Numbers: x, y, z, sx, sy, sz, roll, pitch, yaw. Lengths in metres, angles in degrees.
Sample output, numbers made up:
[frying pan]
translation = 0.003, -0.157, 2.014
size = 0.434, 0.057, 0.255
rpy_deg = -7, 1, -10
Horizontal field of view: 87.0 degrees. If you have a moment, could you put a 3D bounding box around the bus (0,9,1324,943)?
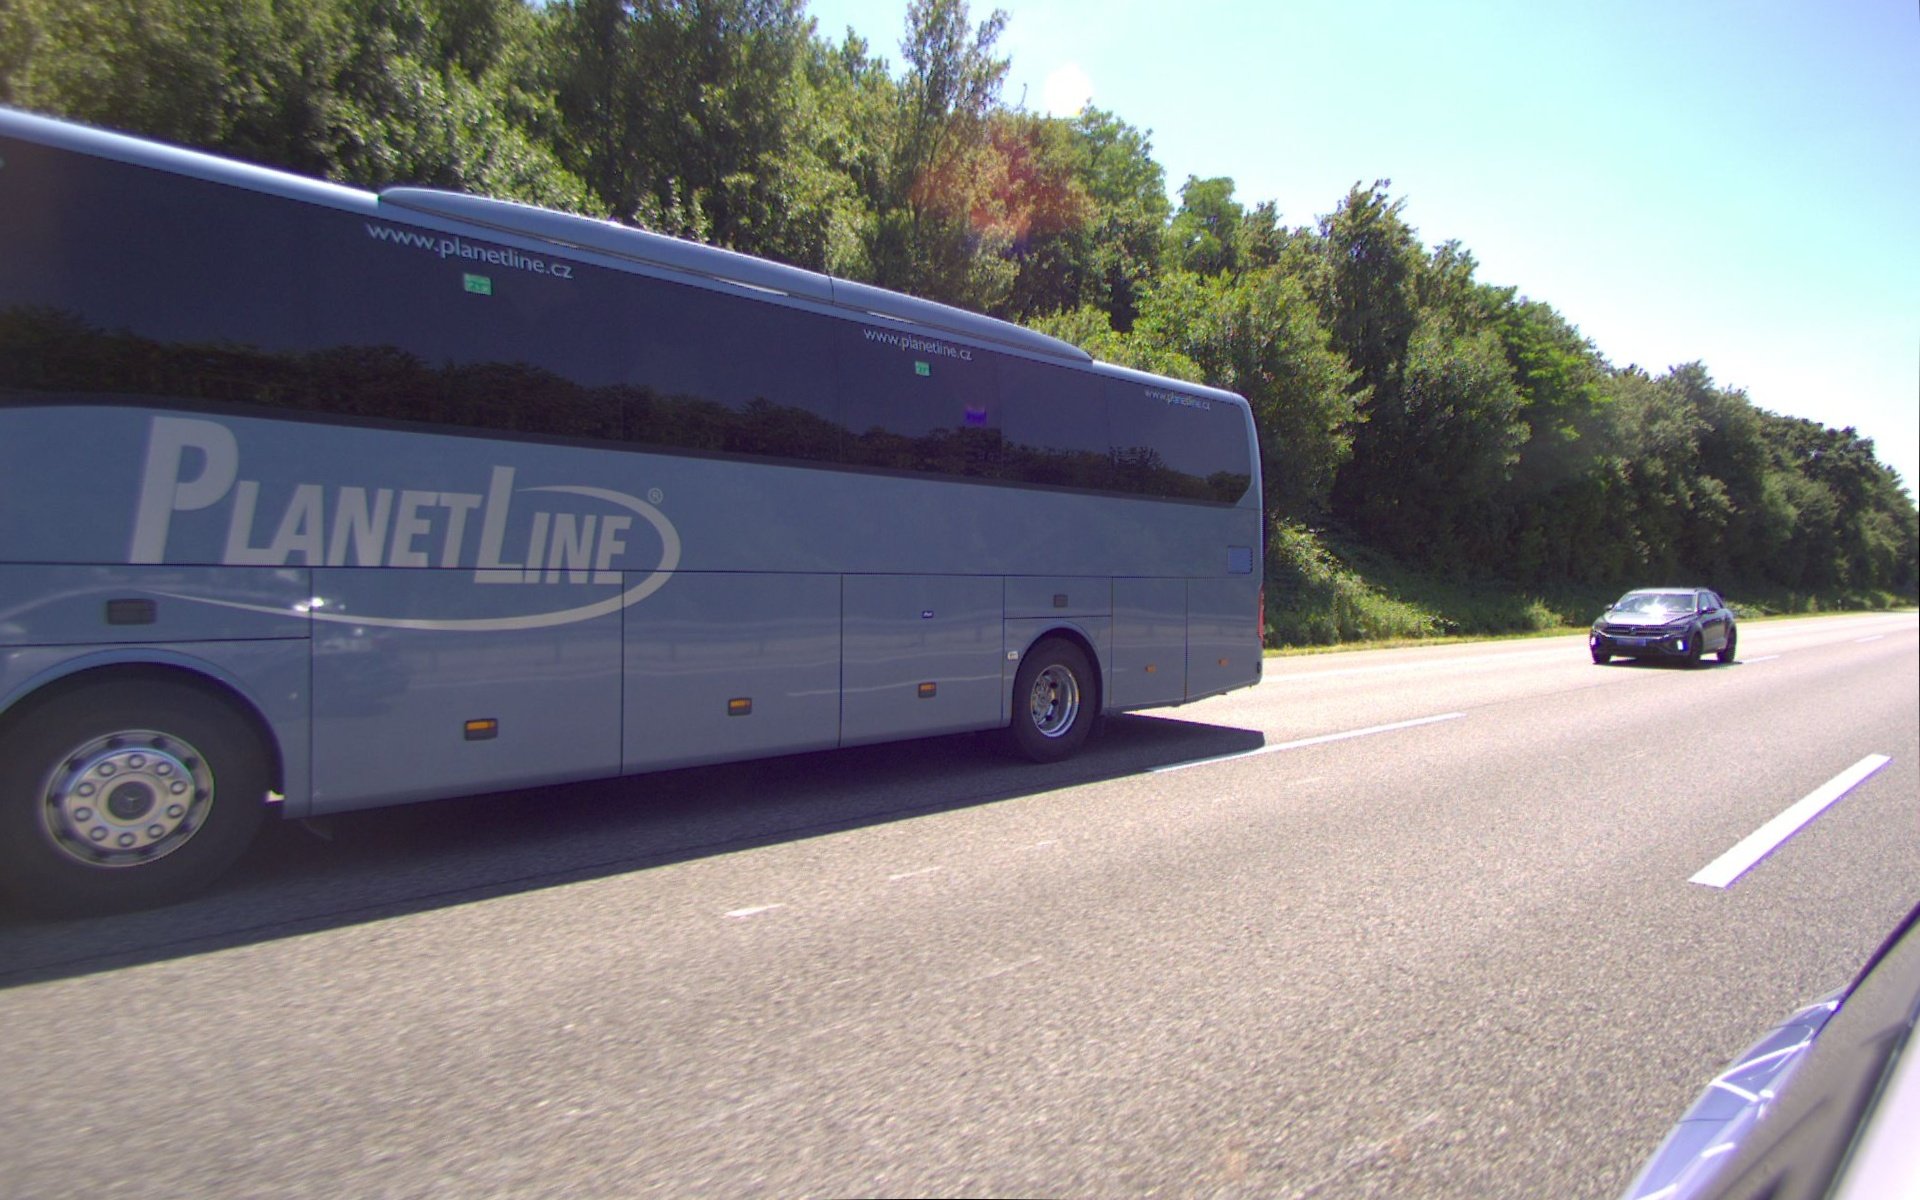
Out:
[bus]
translation = -1.594, -0.555, 7.780
size = 12.260, 3.641, 2.806
rpy_deg = -1, 1, -42

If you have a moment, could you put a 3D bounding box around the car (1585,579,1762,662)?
[car]
translation = 15.000, 0.346, 21.191
size = 4.675, 1.551, 1.903
rpy_deg = -1, 1, -40
